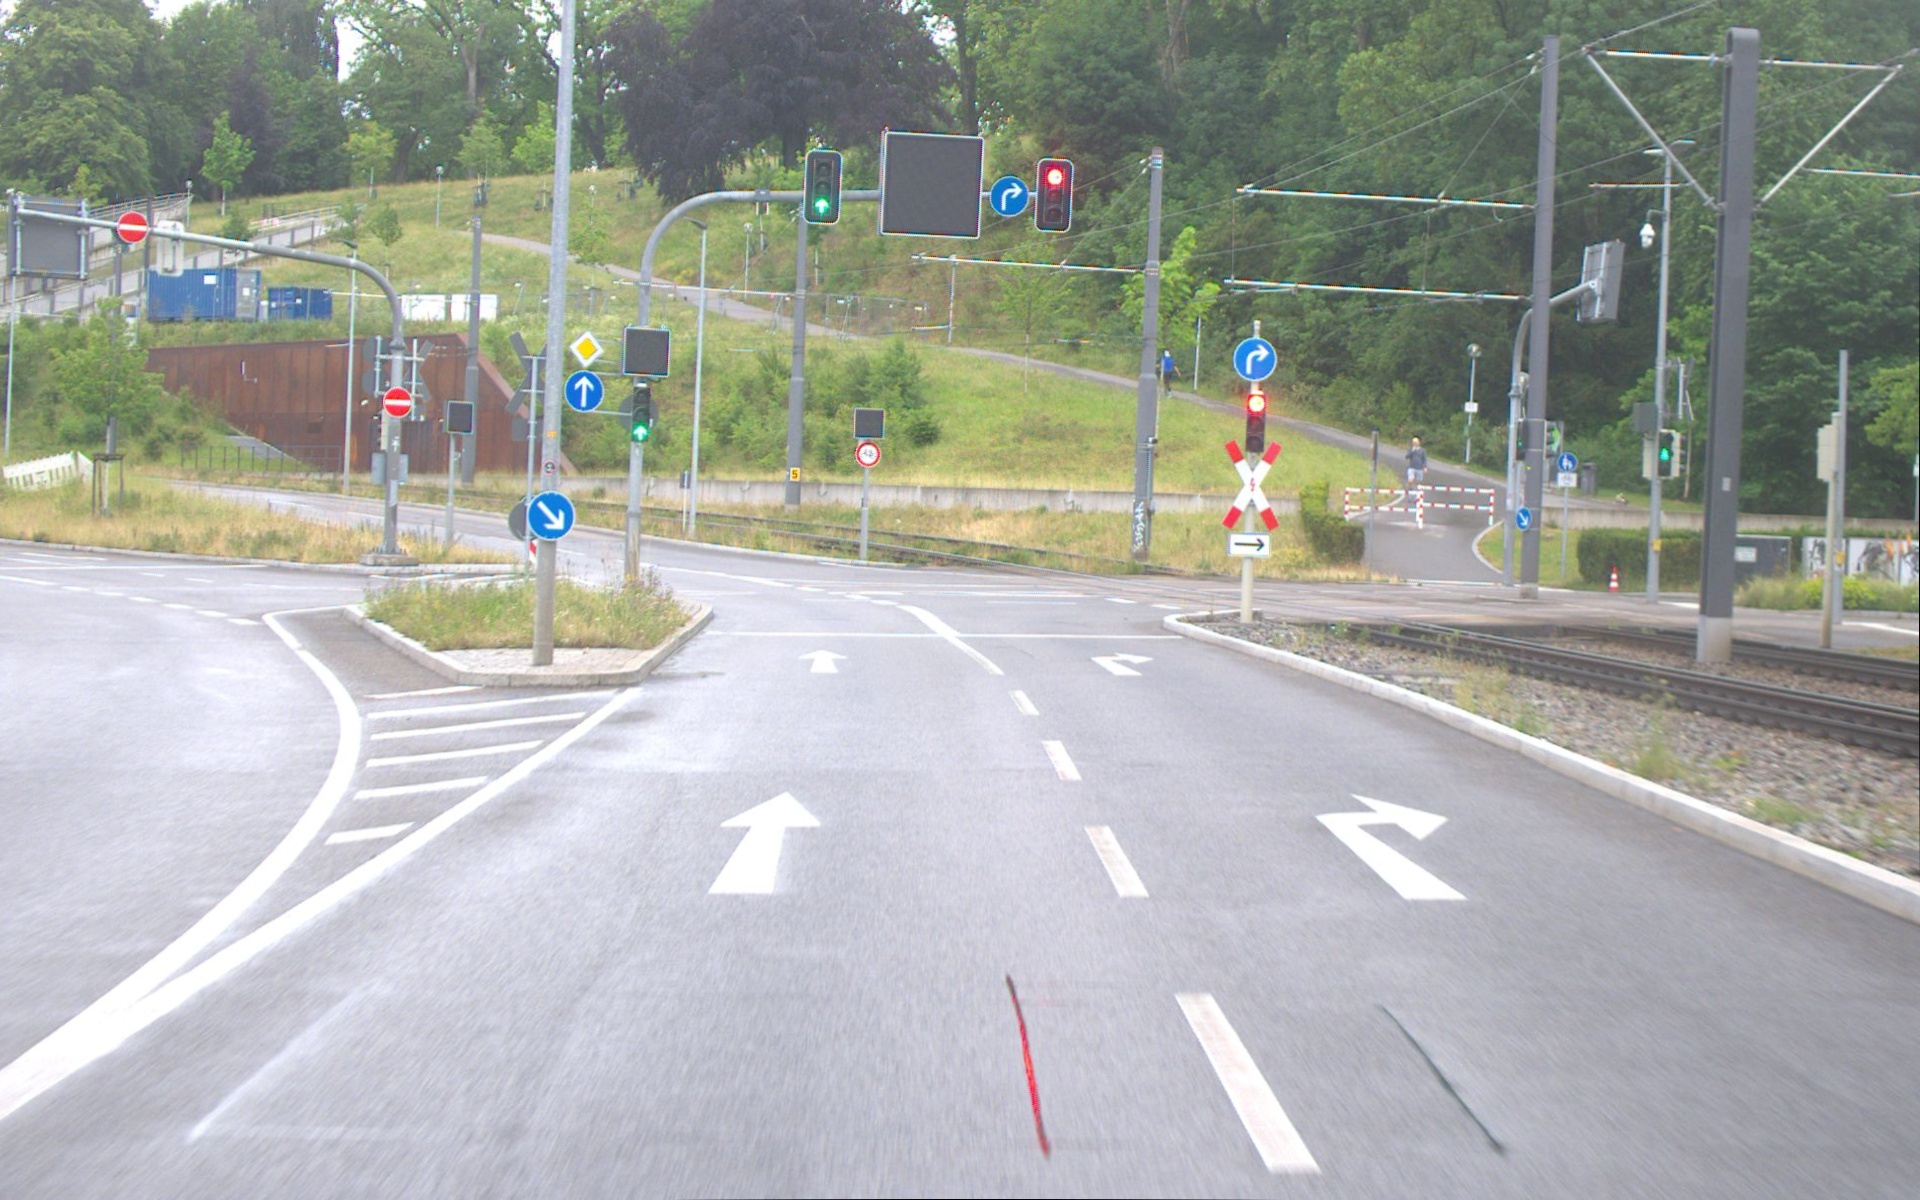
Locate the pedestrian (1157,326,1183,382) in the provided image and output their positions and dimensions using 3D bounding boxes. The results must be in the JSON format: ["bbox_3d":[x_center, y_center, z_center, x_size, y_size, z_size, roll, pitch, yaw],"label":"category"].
[{"bbox_3d":[7.657,-8.972,125.329,0.788,2.006,0.657,-2,7,-16],"label":"pedestrian"}]

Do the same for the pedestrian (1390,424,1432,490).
[{"bbox_3d":[12.624,-3.995,96.155,0.958,1.775,1.122,5,2,11],"label":"pedestrian"}]
